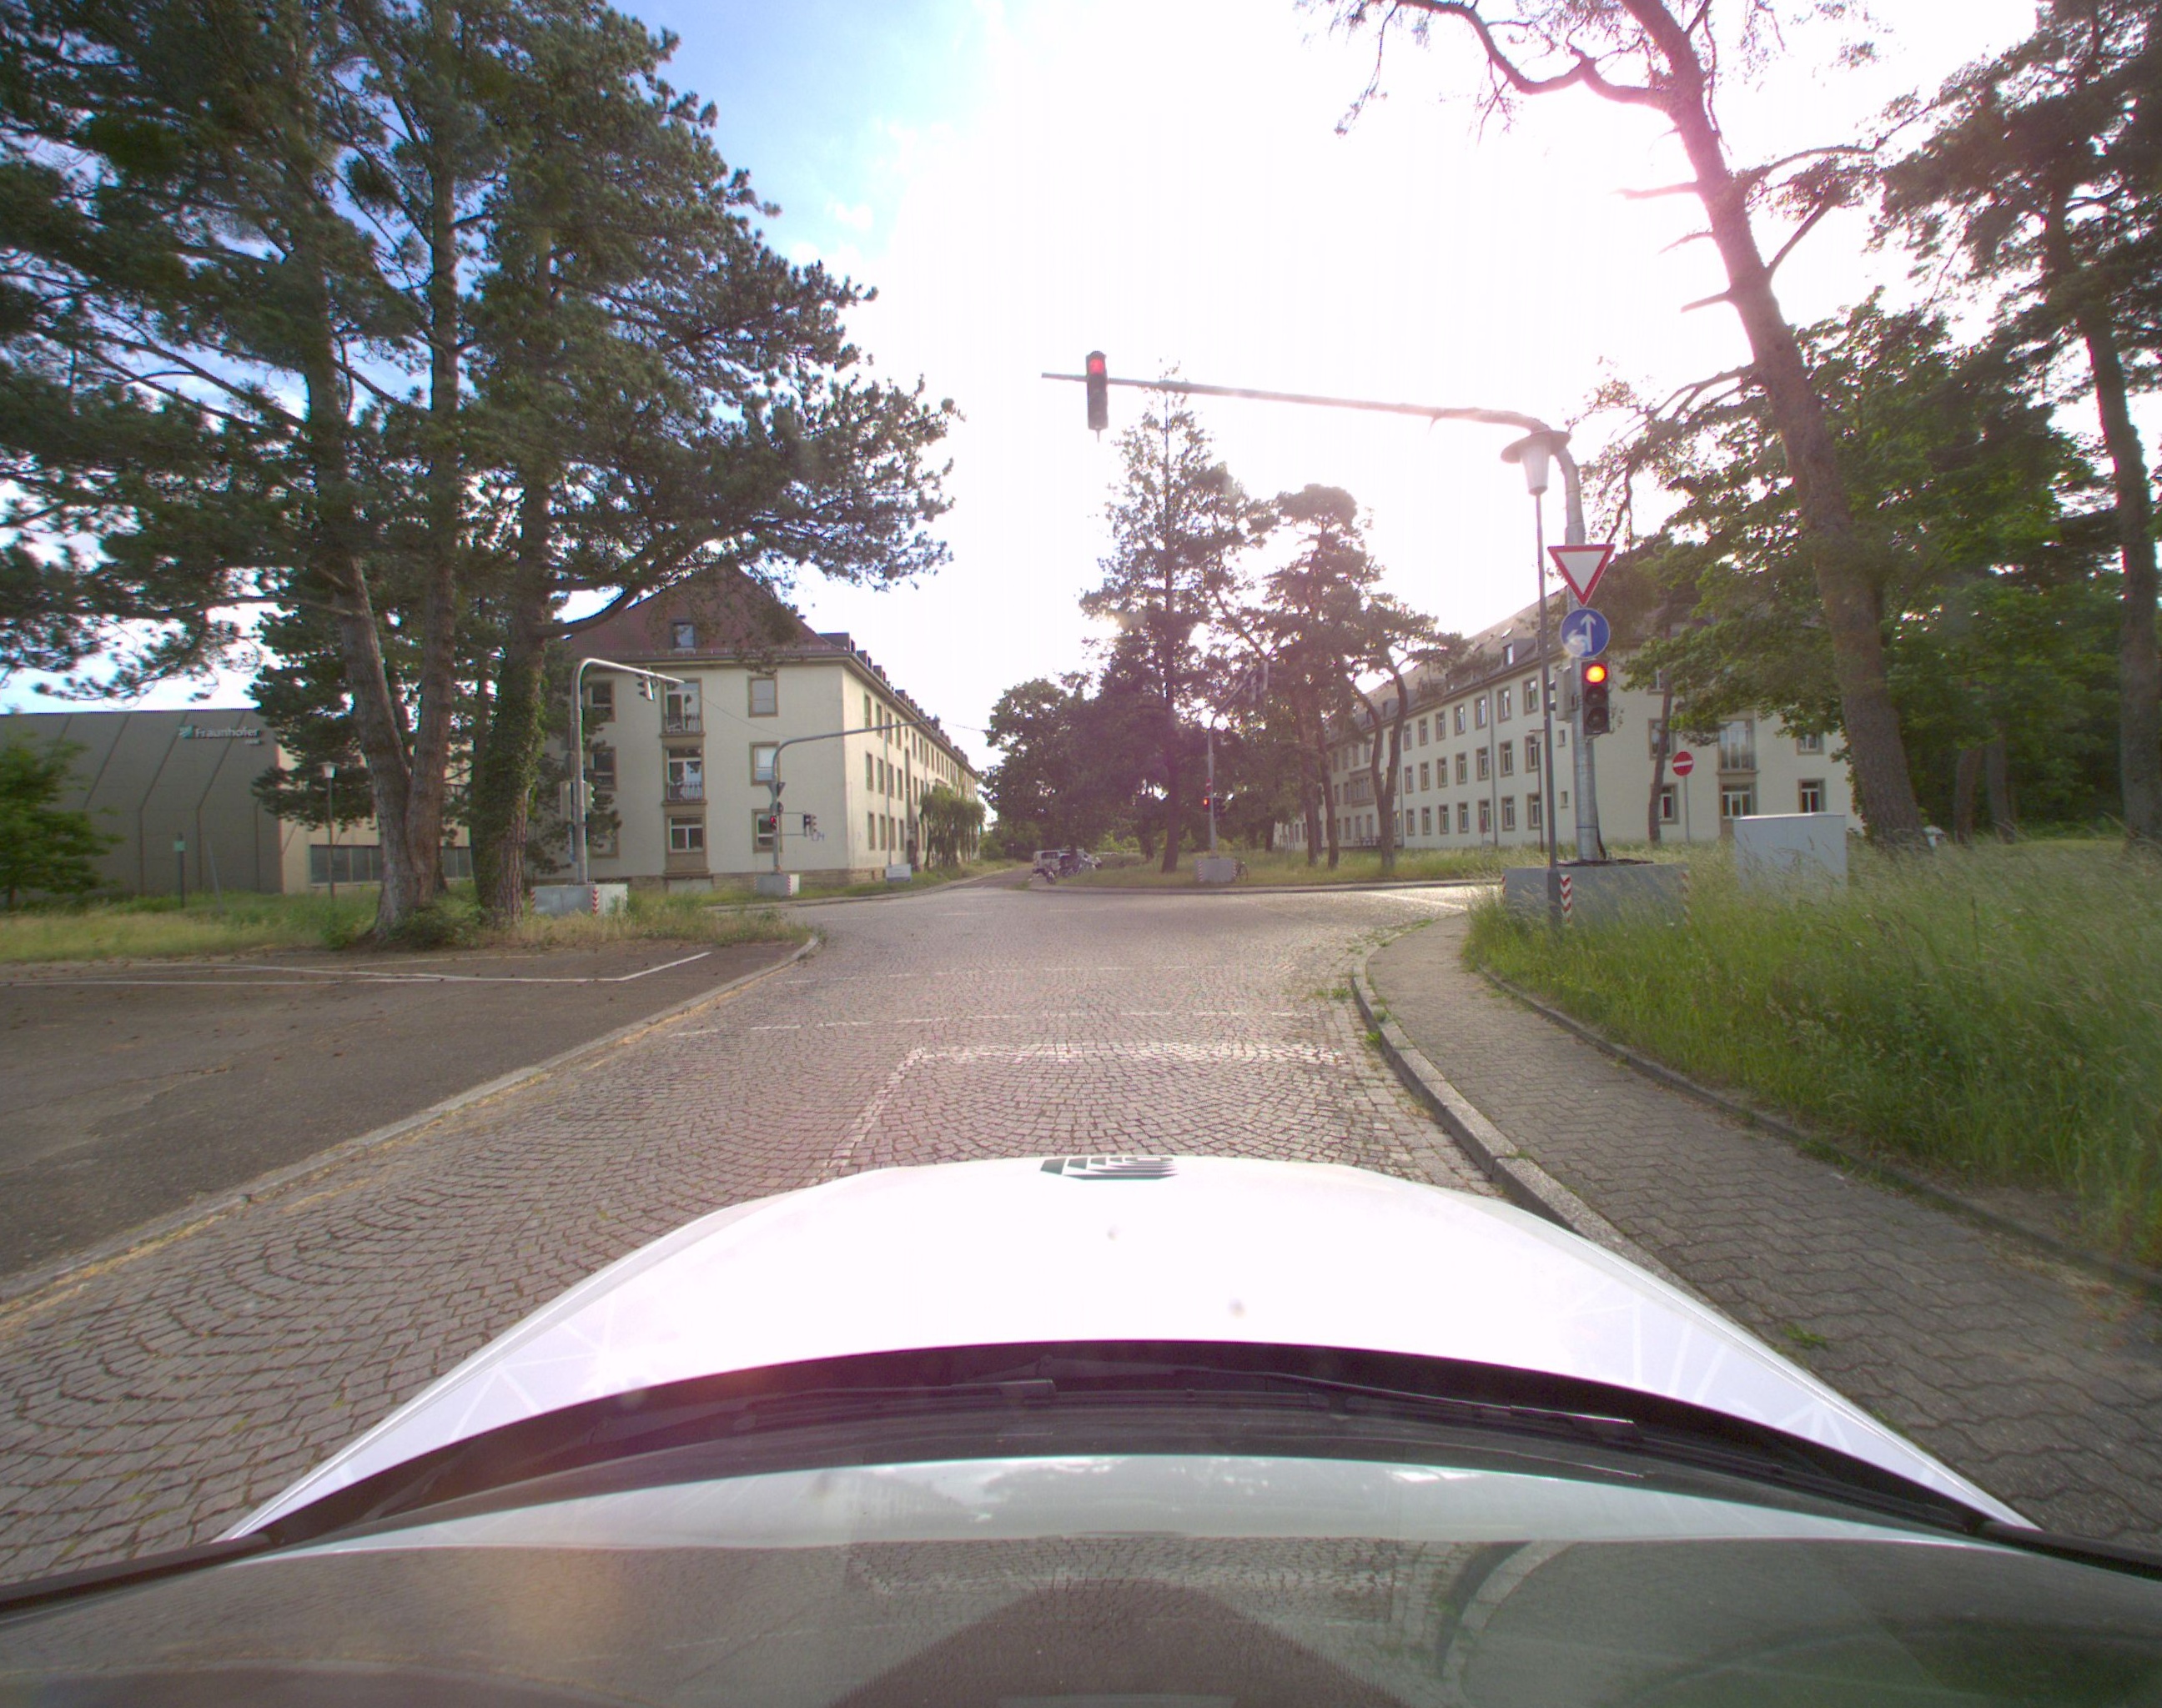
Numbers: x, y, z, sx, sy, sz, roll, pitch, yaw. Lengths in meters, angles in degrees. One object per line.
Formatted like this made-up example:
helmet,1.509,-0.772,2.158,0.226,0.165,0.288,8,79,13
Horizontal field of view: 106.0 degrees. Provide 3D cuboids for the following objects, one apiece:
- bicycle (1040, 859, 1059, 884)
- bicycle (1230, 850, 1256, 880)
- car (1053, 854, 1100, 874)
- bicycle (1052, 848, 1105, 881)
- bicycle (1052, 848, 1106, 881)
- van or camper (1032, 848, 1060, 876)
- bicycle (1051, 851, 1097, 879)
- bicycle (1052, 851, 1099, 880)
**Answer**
bicycle,-1.517,0.835,39.892,0.723,1.107,2.461,-6,0,0
bicycle,6.466,0.426,32.646,0.720,1.169,2.740,0,0,5
car,-0.349,0.712,58.604,3.135,1.354,1.616,-2,0,-8
bicycle,-0.176,0.586,45.412,2.775,1.694,1.117,-2,0,-9
bicycle,-0.125,0.556,44.220,2.773,1.694,1.117,-2,0,-7
van or camper,-2.690,0.592,62.703,1.989,1.948,6.046,-2,0,-3
bicycle,-0.421,0.681,50.307,2.767,1.694,1.120,0,0,-1
bicycle,-0.307,0.690,48.973,2.764,1.694,1.121,0,0,2
